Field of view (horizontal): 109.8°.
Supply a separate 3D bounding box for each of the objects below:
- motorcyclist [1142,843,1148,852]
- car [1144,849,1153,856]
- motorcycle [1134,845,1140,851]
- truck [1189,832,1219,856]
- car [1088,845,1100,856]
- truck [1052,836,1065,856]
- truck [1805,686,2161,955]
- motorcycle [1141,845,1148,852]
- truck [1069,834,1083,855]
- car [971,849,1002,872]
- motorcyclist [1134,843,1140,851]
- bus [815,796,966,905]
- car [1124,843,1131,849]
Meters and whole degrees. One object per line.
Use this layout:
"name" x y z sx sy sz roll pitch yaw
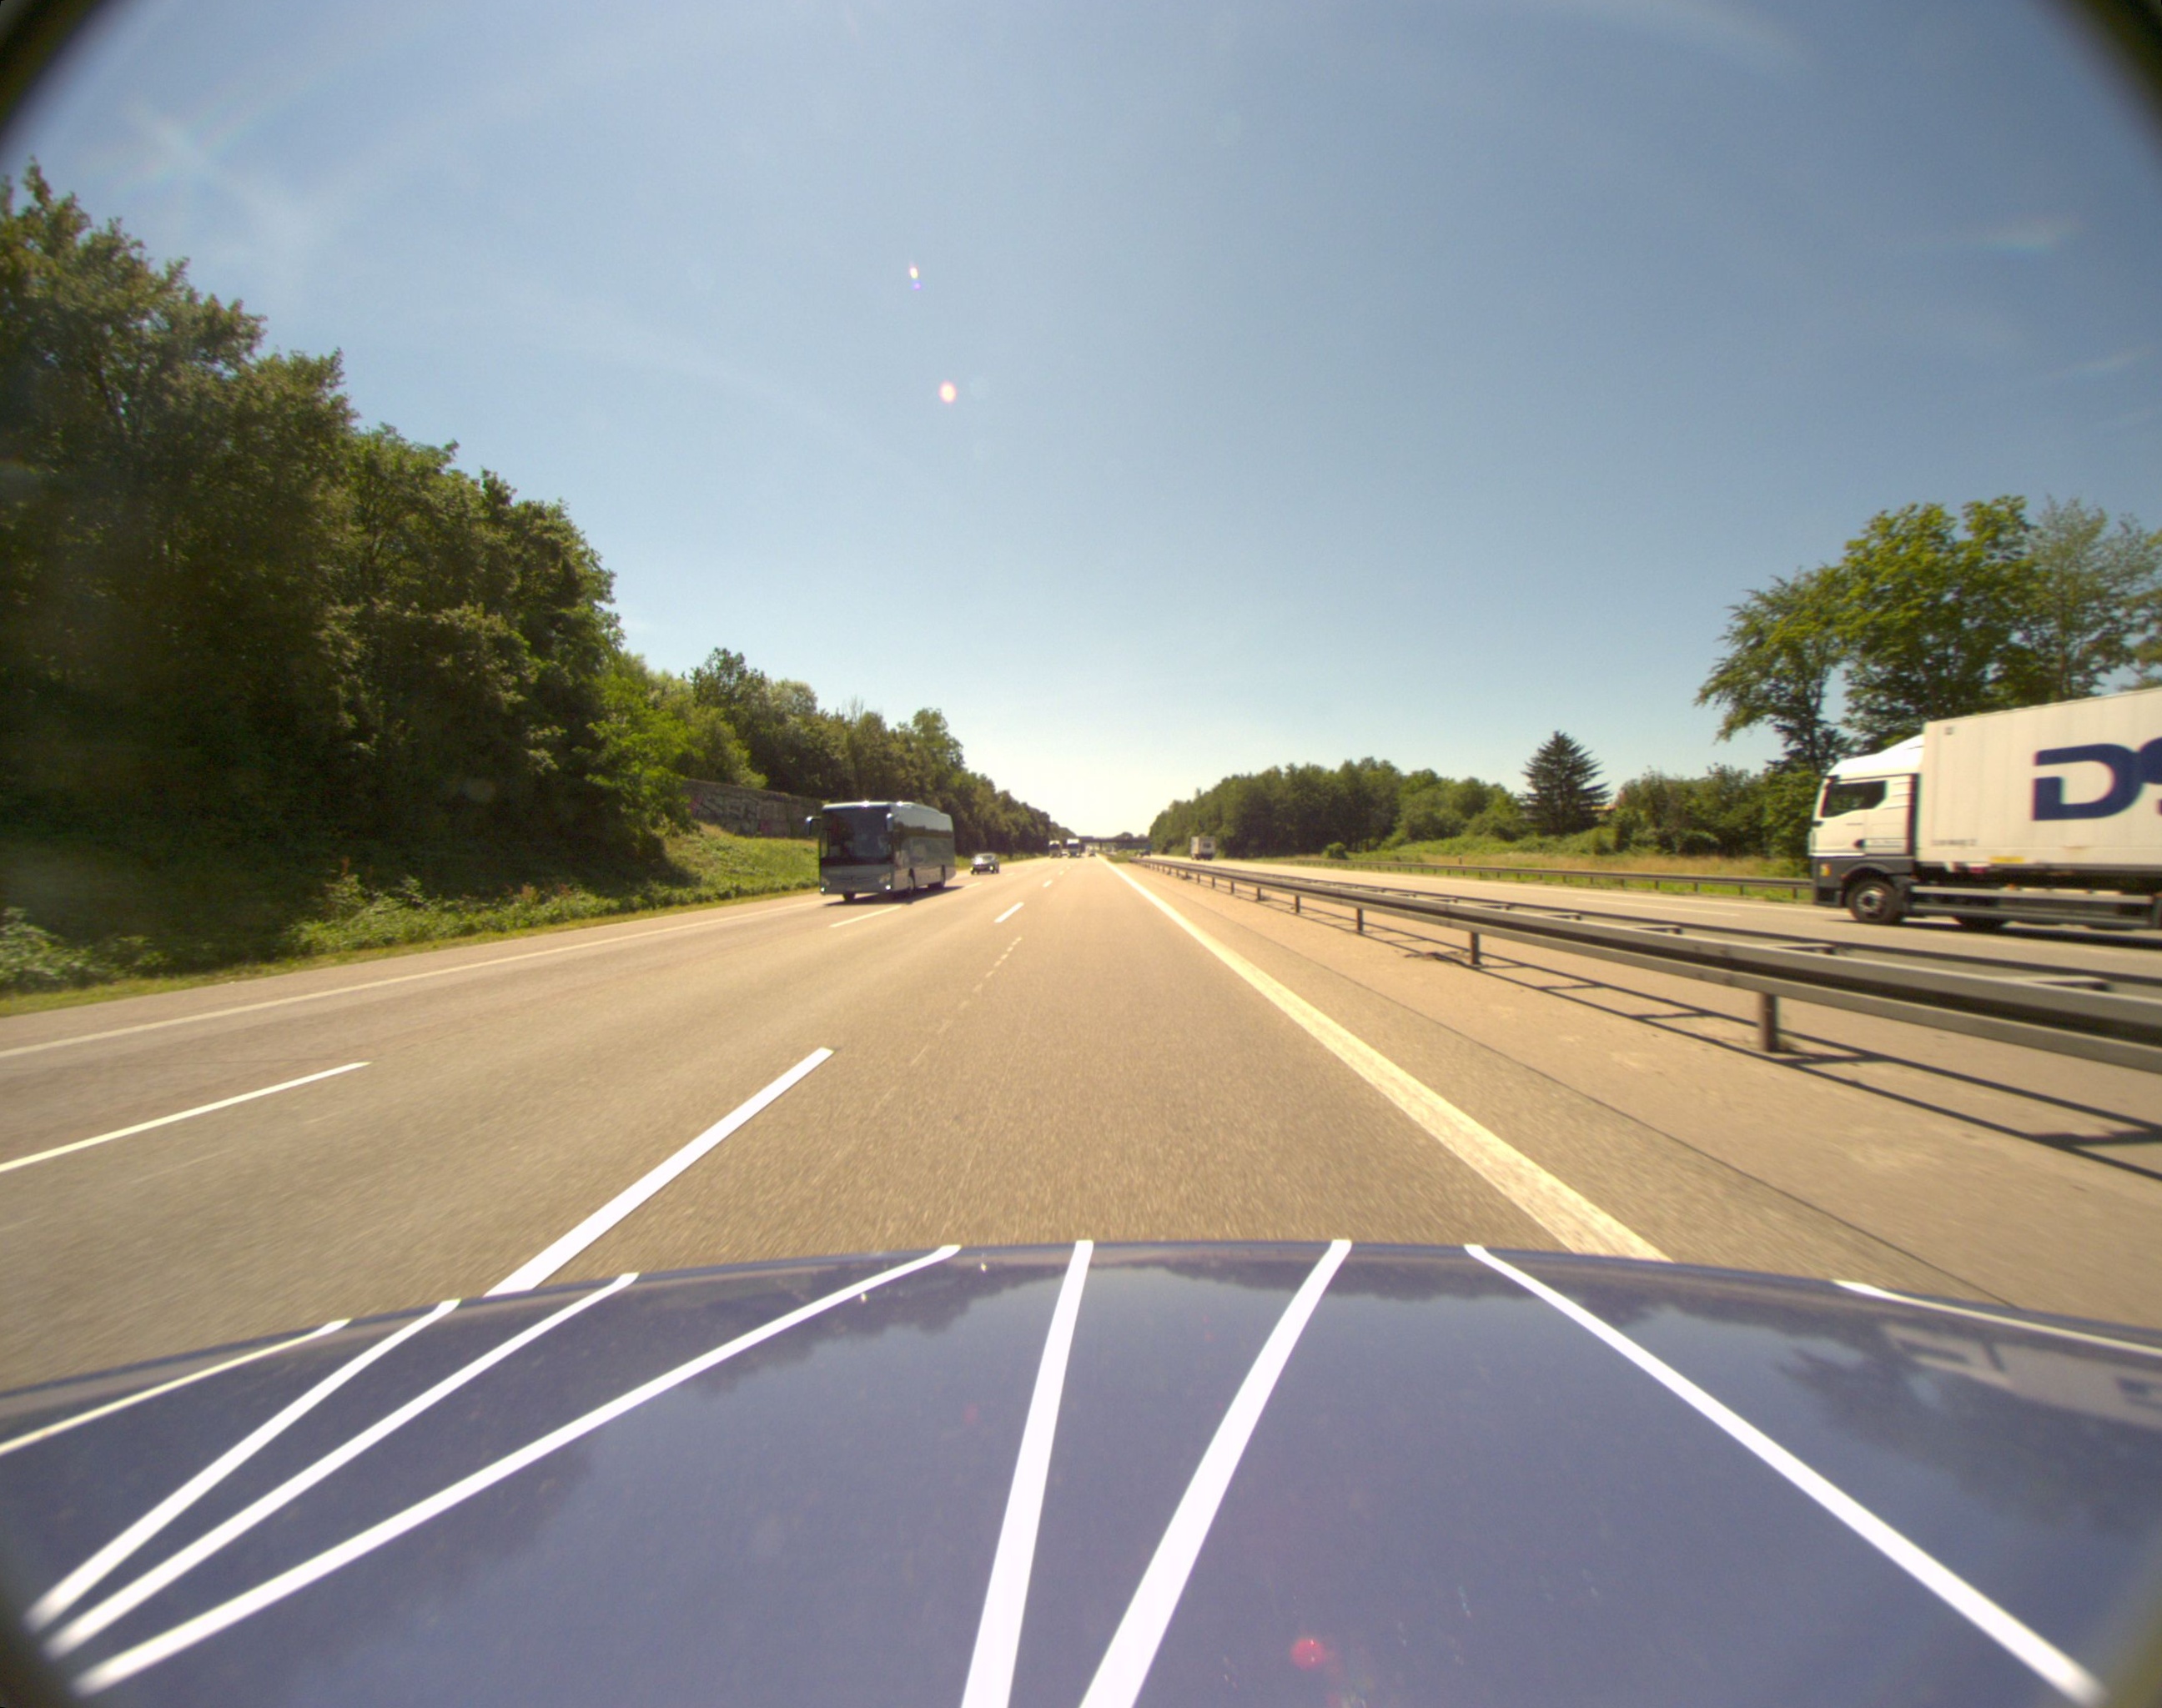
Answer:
"motorcyclist" 11.775 -1.260 139.965 1.043 1.590 1.151 -2 1 1
"car" 16.629 -0.412 187.650 1.850 1.663 4.185 1 1 1
"motorcycle" 11.881 -1.310 161.815 1.037 1.231 3.810 -2 1 1
"truck" 19.258 -1.578 119.867 3.002 3.598 10.269 -2 1 1
"car" 3.003 -0.832 174.970 2.616 2.390 7.122 -2 1 1
"truck" -5.353 -1.998 181.850 2.616 4.638 10.960 -2 1 1
"truck" 17.316 -0.511 11.665 2.587 3.984 10.337 -1 1 1
"motorcycle" 11.763 -1.096 140.054 1.037 1.260 2.577 -2 1 1
"truck" -1.047 -2.133 170.062 2.616 4.638 10.960 -2 1 1
"car" -7.291 0.490 59.015 1.814 1.607 3.999 -2 1 1
"motorcyclist" 11.870 -1.482 161.372 1.043 1.590 1.151 -2 1 1
"bus" -7.362 -0.230 32.039 2.617 3.532 13.680 -2 1 1
"car" 13.554 -2.350 221.664 1.844 1.772 3.512 -2 1 1
